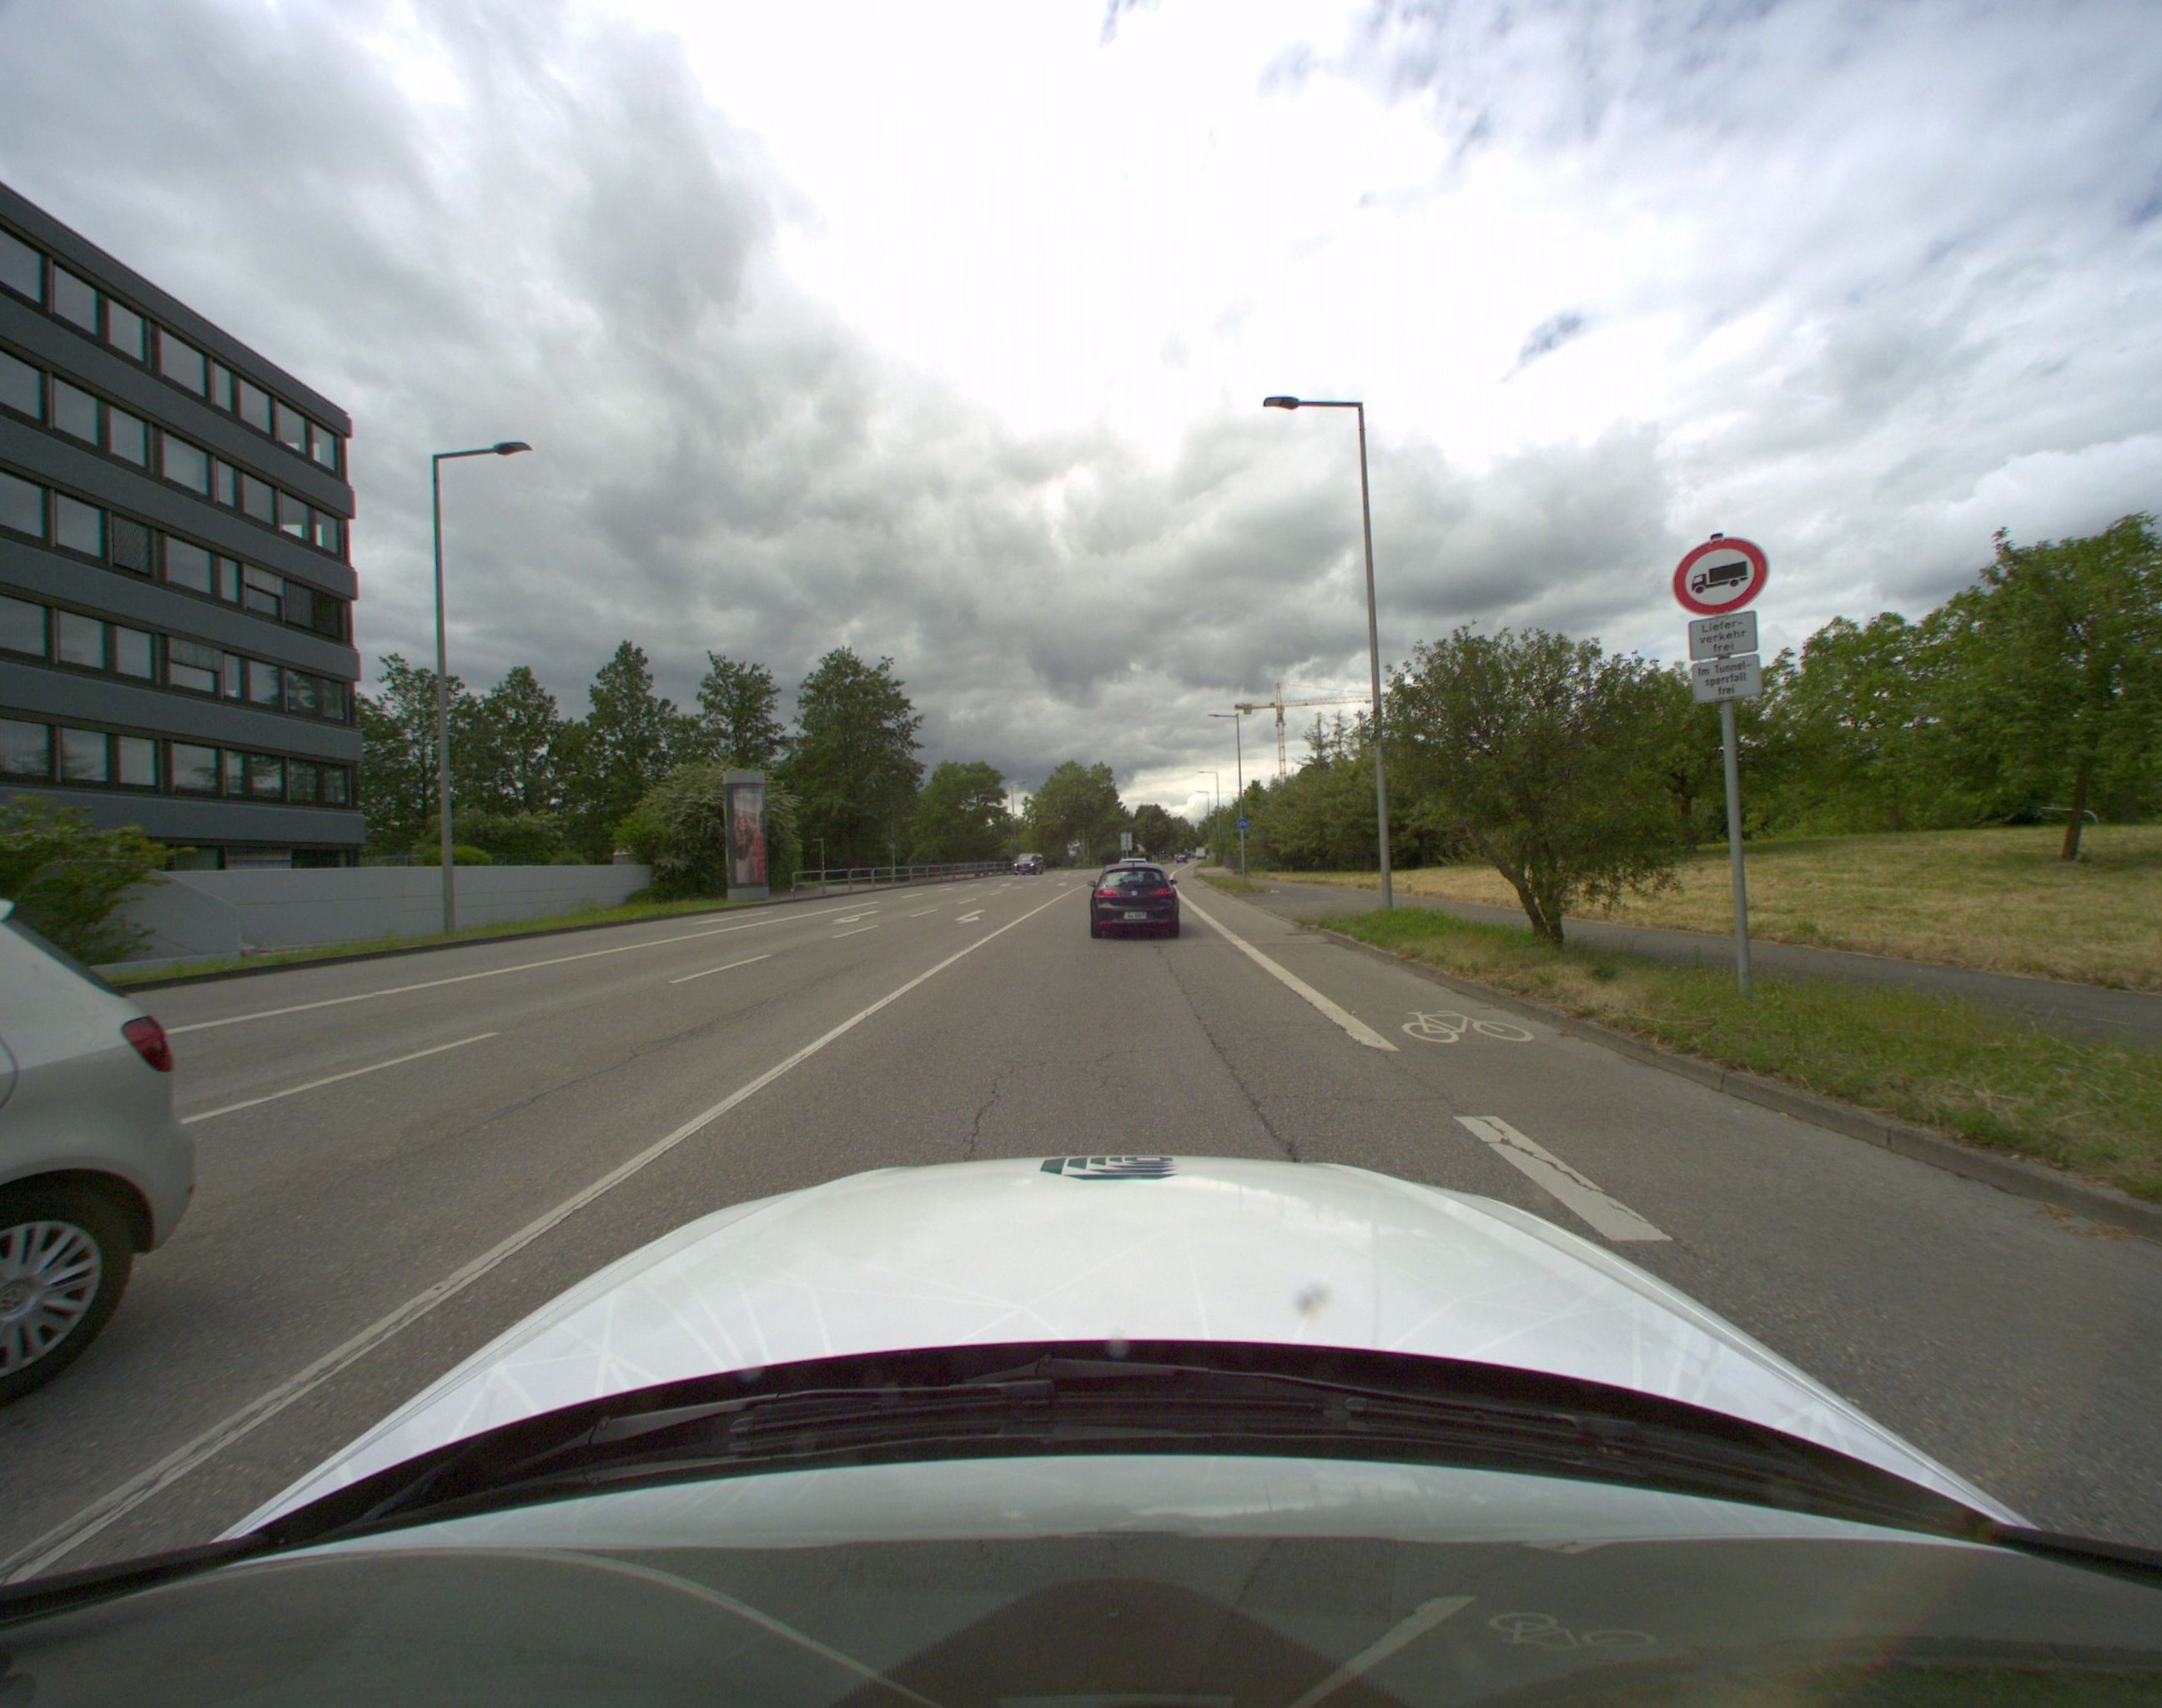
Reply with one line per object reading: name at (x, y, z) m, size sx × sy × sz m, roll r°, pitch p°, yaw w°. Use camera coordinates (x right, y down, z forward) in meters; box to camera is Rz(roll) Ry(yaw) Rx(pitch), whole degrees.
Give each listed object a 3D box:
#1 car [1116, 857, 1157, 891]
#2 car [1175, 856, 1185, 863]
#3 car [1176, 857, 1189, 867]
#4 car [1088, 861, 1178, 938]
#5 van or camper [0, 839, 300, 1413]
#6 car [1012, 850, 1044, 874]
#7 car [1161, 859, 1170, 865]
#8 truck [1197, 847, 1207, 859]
car at (2.660, 0.921, 38.678) m, size 1.837 × 1.510 × 3.817 m, roll -1°, pitch 0°, yaw 5°
car at (28.756, 1.649, 236.183) m, size 2.086 × 1.896 × 5.802 m, roll -4°, pitch -1°, yaw 11°
car at (17.928, 1.413, 143.863) m, size 1.869 × 1.689 × 4.227 m, roll -2°, pitch -1°, yaw 11°
car at (1.128, 0.864, 16.970) m, size 1.655 × 1.401 × 3.817 m, roll -1°, pitch 0°, yaw 5°
van or camper at (-3.951, 0.776, 1.127) m, size 1.737 × 1.610 × 4.047 m, roll -1°, pitch 0°, yaw 2°
car at (-4.692, 0.701, 72.610) m, size 2.009 × 1.947 × 5.371 m, roll -2°, pitch 0°, yaw 4°
car at (21.699, 1.955, 207.967) m, size 1.707 × 1.395 × 4.816 m, roll -4°, pitch -1°, yaw 11°
truck at (31.573, -0.212, 212.330) m, size 2.264 × 3.104 × 8.535 m, roll -1°, pitch -1°, yaw 11°
